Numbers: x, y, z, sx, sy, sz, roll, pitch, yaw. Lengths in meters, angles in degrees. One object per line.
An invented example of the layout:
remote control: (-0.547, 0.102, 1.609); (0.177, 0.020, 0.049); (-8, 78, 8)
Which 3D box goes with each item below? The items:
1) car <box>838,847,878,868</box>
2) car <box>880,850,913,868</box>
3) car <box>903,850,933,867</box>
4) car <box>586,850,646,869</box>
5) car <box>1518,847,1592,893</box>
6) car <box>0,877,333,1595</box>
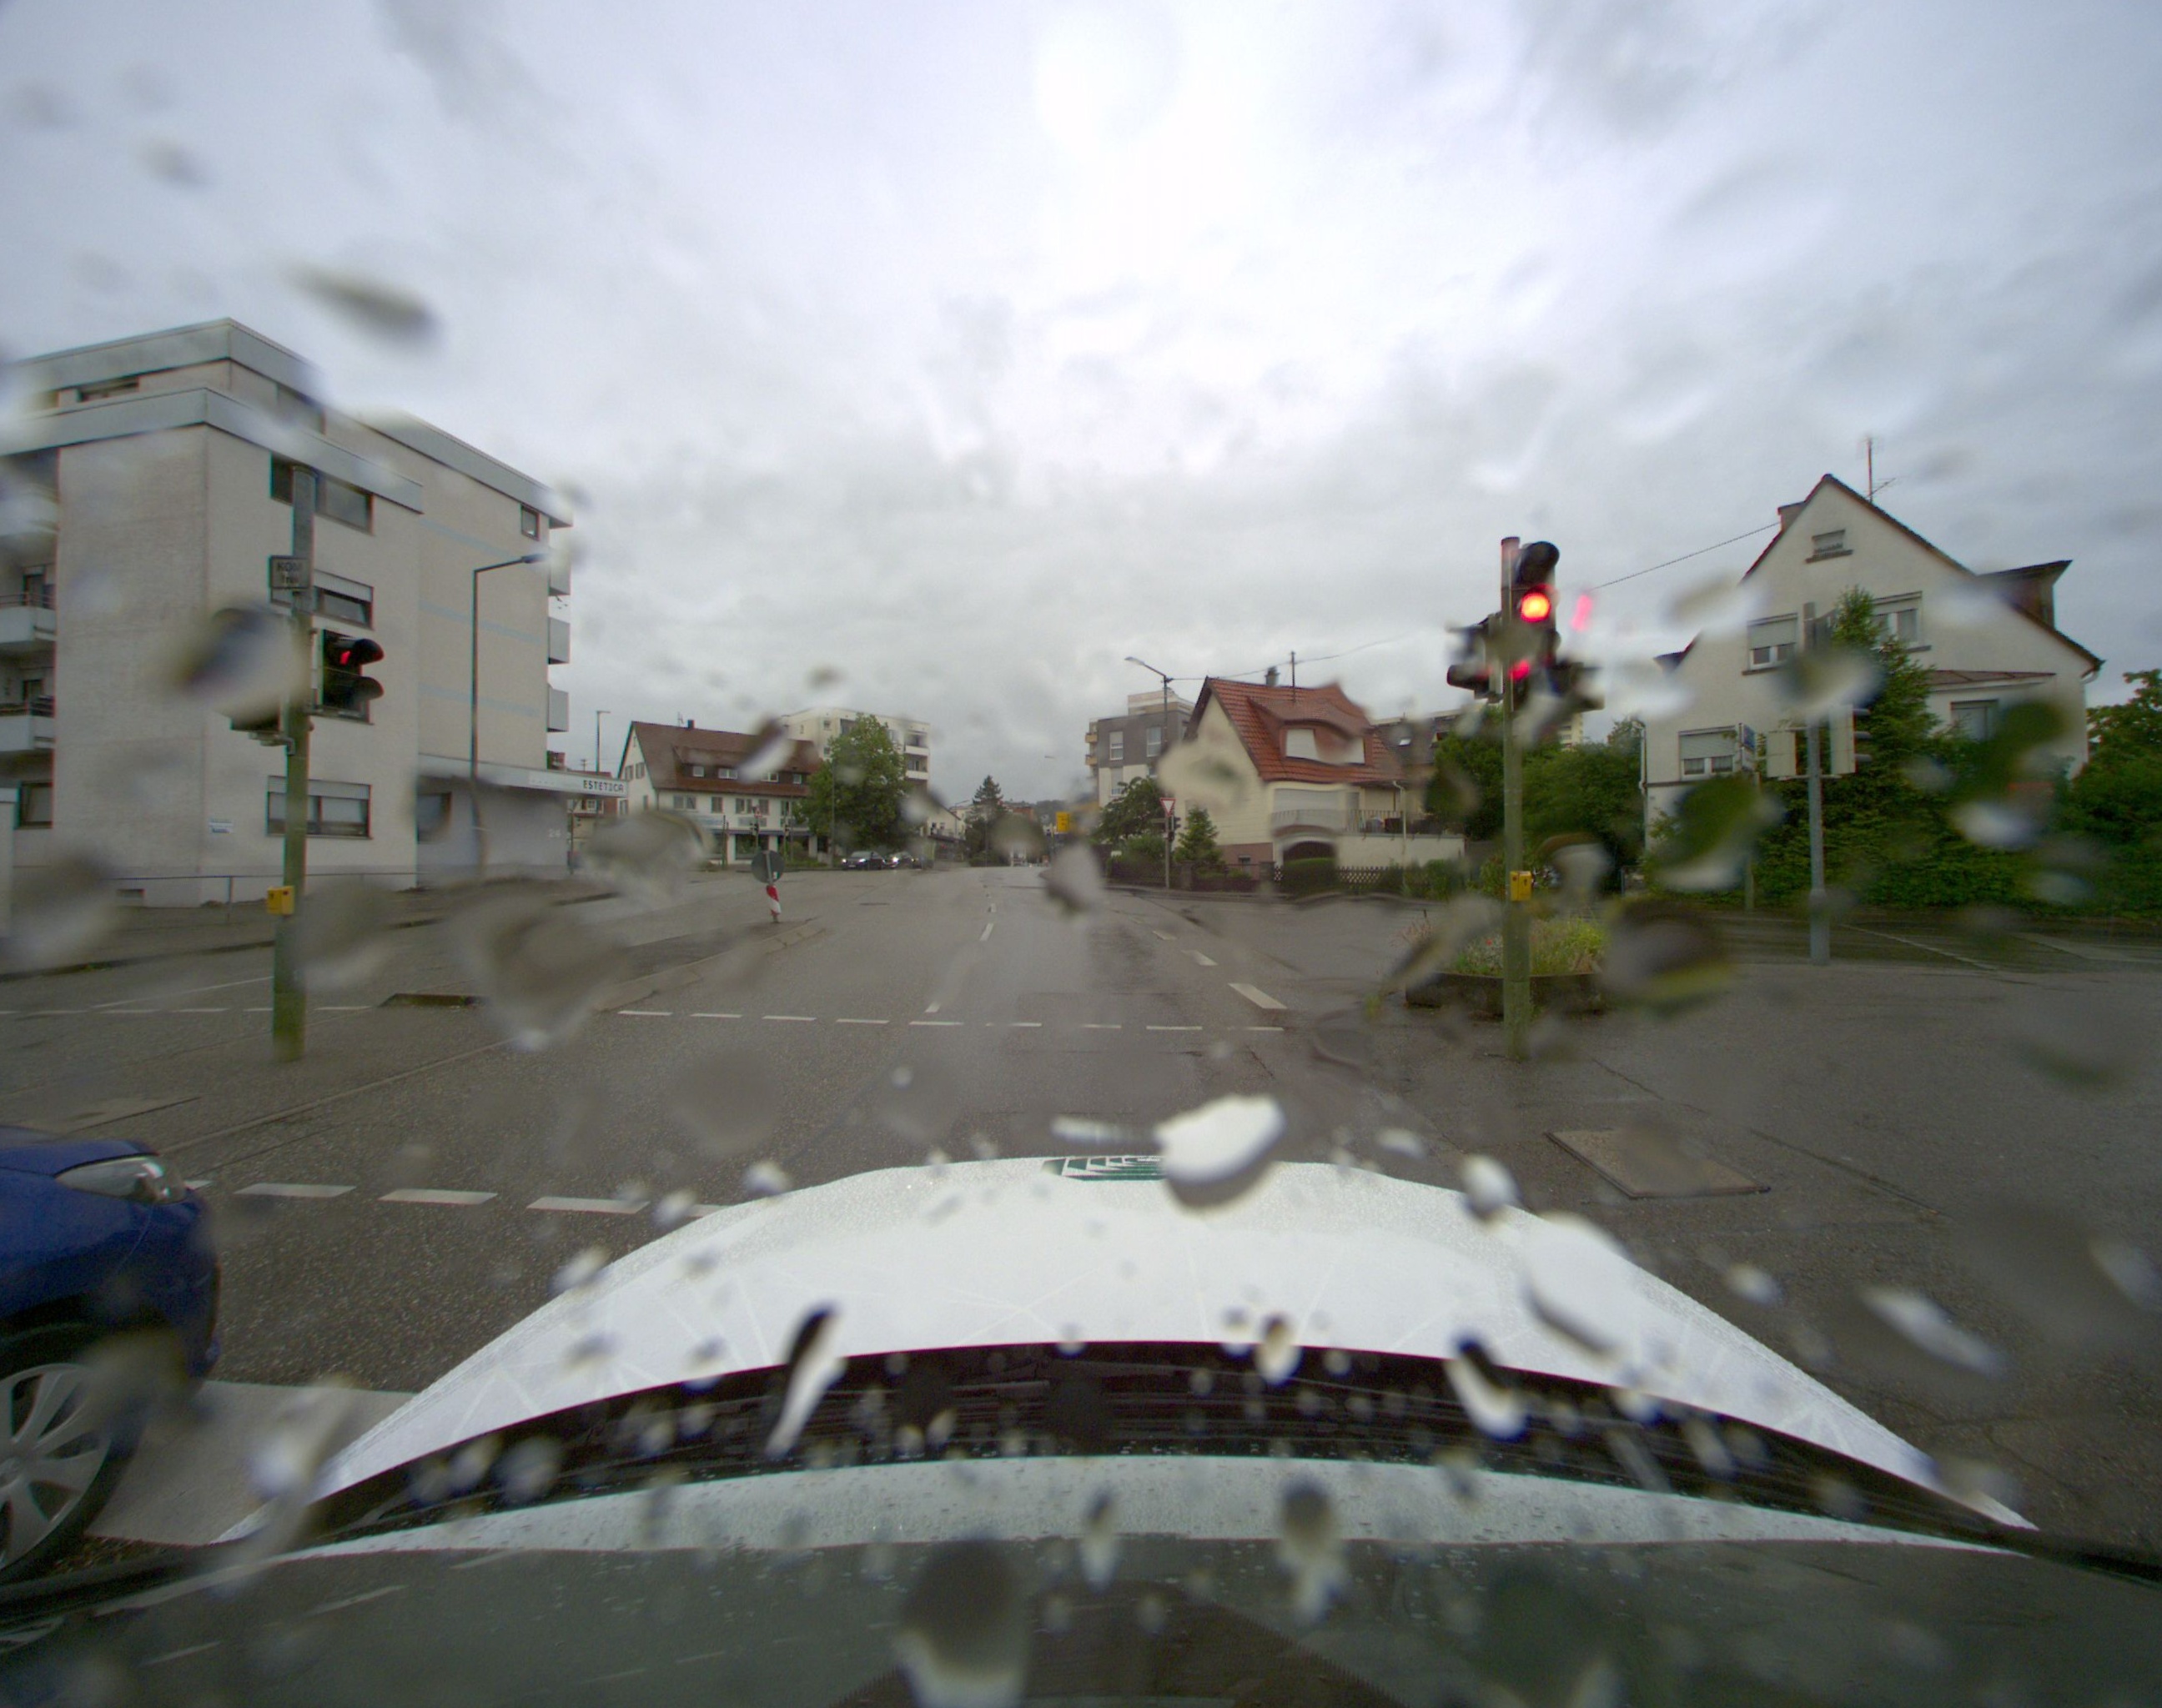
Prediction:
car: (-16.009, 0.219, 58.635); (1.772, 1.420, 3.832); (0, 0, 2)
car: (-14.955, 0.362, 66.176); (1.708, 1.387, 4.022); (0, 0, 2)
car: (-14.370, 0.376, 71.944); (1.772, 1.420, 3.832); (0, 0, 2)
car: (-38.316, 0.418, 67.114); (3.988, 1.572, 1.850); (0, 0, -42)
car: (17.099, 0.524, 29.303); (1.723, 1.514, 4.025); (0, 0, 39)
car: (-2.986, 0.780, 0.704); (1.572, 1.410, 3.272); (0, 0, 2)
